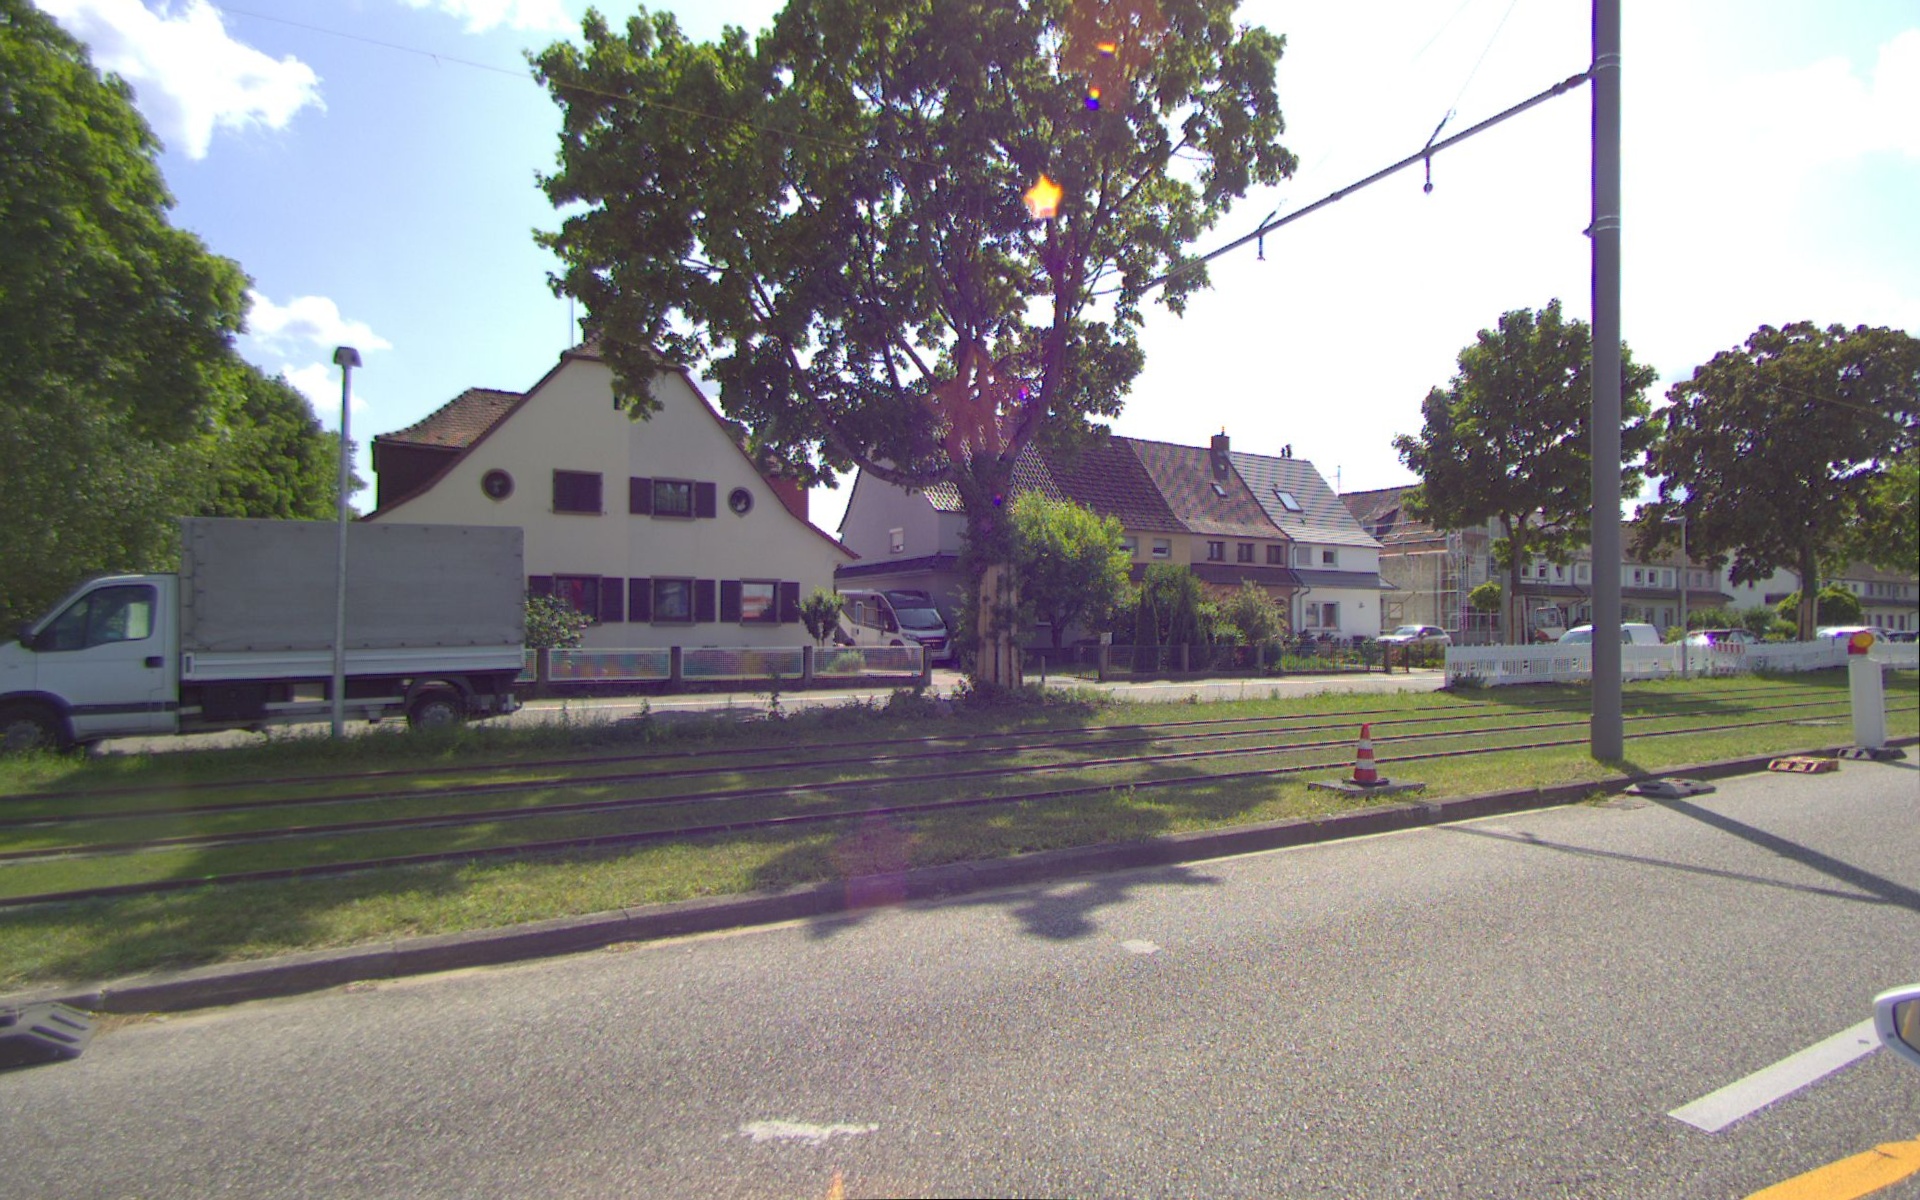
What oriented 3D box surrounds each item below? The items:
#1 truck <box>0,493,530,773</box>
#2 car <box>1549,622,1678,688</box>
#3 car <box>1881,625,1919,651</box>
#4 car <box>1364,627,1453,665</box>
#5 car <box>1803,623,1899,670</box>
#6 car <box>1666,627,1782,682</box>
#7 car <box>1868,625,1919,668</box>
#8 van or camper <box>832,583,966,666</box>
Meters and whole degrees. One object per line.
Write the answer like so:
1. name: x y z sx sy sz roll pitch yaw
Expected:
1. truck: -8.798 0.415 12.936 5.805 3.027 1.994 1 -2 -30
2. car: 19.501 1.604 29.963 3.814 1.841 1.691 1 -2 -30
3. car: 66.750 2.678 70.736 4.013 1.762 1.691 1 -2 -30
4. car: 19.888 1.992 44.483 3.814 1.614 1.691 1 -2 -30
5. car: 34.970 1.801 39.407 3.814 1.762 1.691 1 -2 -30
6. car: 25.745 1.798 33.830 4.006 1.762 1.691 1 -2 -30
7. car: 40.388 1.958 42.604 3.814 1.762 1.691 1 -2 -30
8. van or camper: -2.351 0.908 36.653 2.224 2.745 5.963 1 -2 -33
